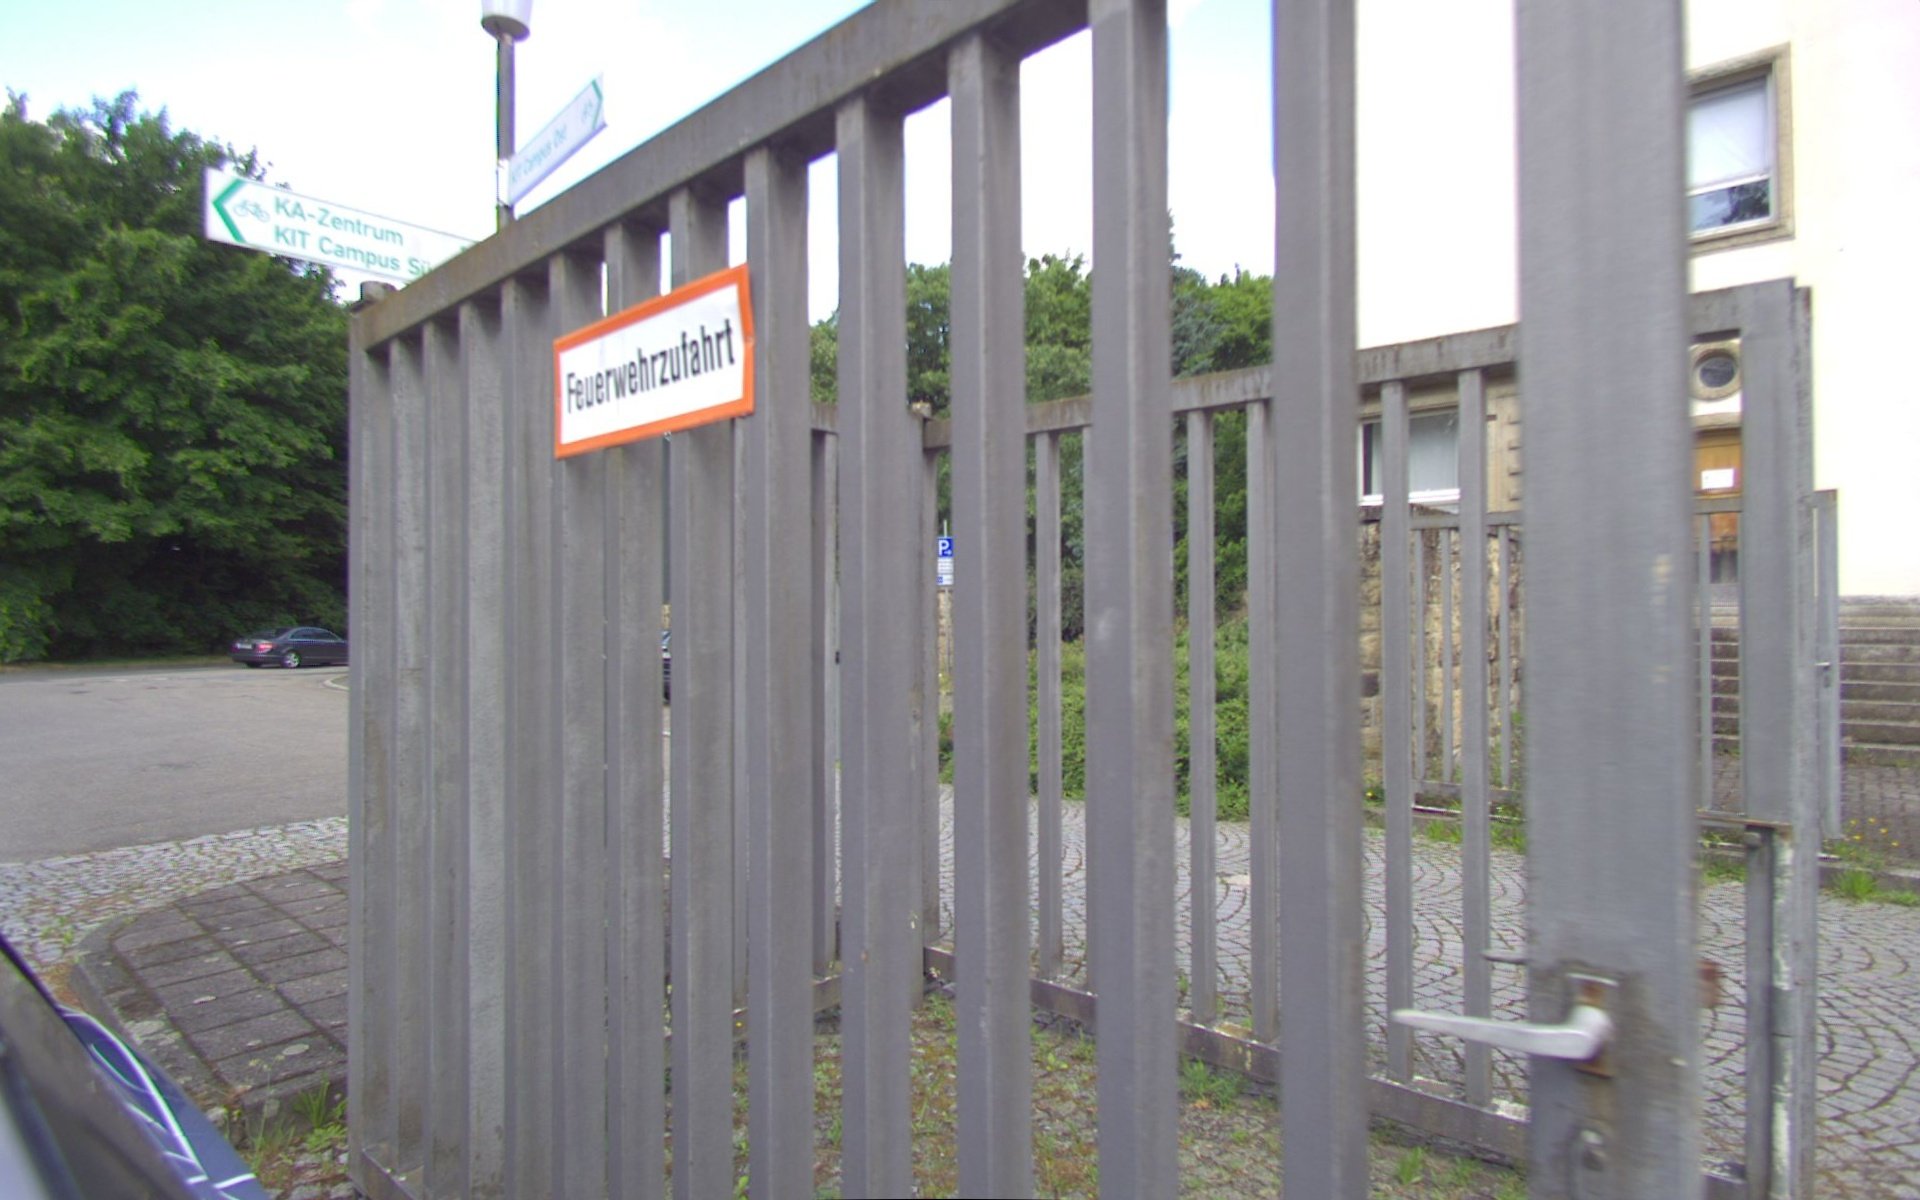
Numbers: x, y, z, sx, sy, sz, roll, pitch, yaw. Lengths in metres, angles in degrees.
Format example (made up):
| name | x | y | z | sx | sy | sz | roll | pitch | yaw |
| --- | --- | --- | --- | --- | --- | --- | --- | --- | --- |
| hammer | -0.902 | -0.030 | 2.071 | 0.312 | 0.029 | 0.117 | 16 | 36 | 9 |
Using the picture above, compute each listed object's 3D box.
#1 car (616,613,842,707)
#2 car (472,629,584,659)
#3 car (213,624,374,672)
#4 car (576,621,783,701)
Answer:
| name | x | y | z | sx | sy | sz | roll | pitch | yaw |
| --- | --- | --- | --- | --- | --- | --- | --- | --- | --- |
| car | -4.468 | 1.102 | 19.939 | 1.900 | 1.558 | 3.943 | -2 | 0 | 44 |
| car | -21.478 | 2.161 | 50.609 | 1.986 | 1.389 | 5.374 | -1 | -1 | 21 |
| car | -23.024 | 1.623 | 35.183 | 1.950 | 1.475 | 4.503 | -1 | -1 | 17 |
| car | -6.081 | 1.268 | 22.204 | 1.880 | 1.452 | 3.942 | -2 | 0 | 44 |
